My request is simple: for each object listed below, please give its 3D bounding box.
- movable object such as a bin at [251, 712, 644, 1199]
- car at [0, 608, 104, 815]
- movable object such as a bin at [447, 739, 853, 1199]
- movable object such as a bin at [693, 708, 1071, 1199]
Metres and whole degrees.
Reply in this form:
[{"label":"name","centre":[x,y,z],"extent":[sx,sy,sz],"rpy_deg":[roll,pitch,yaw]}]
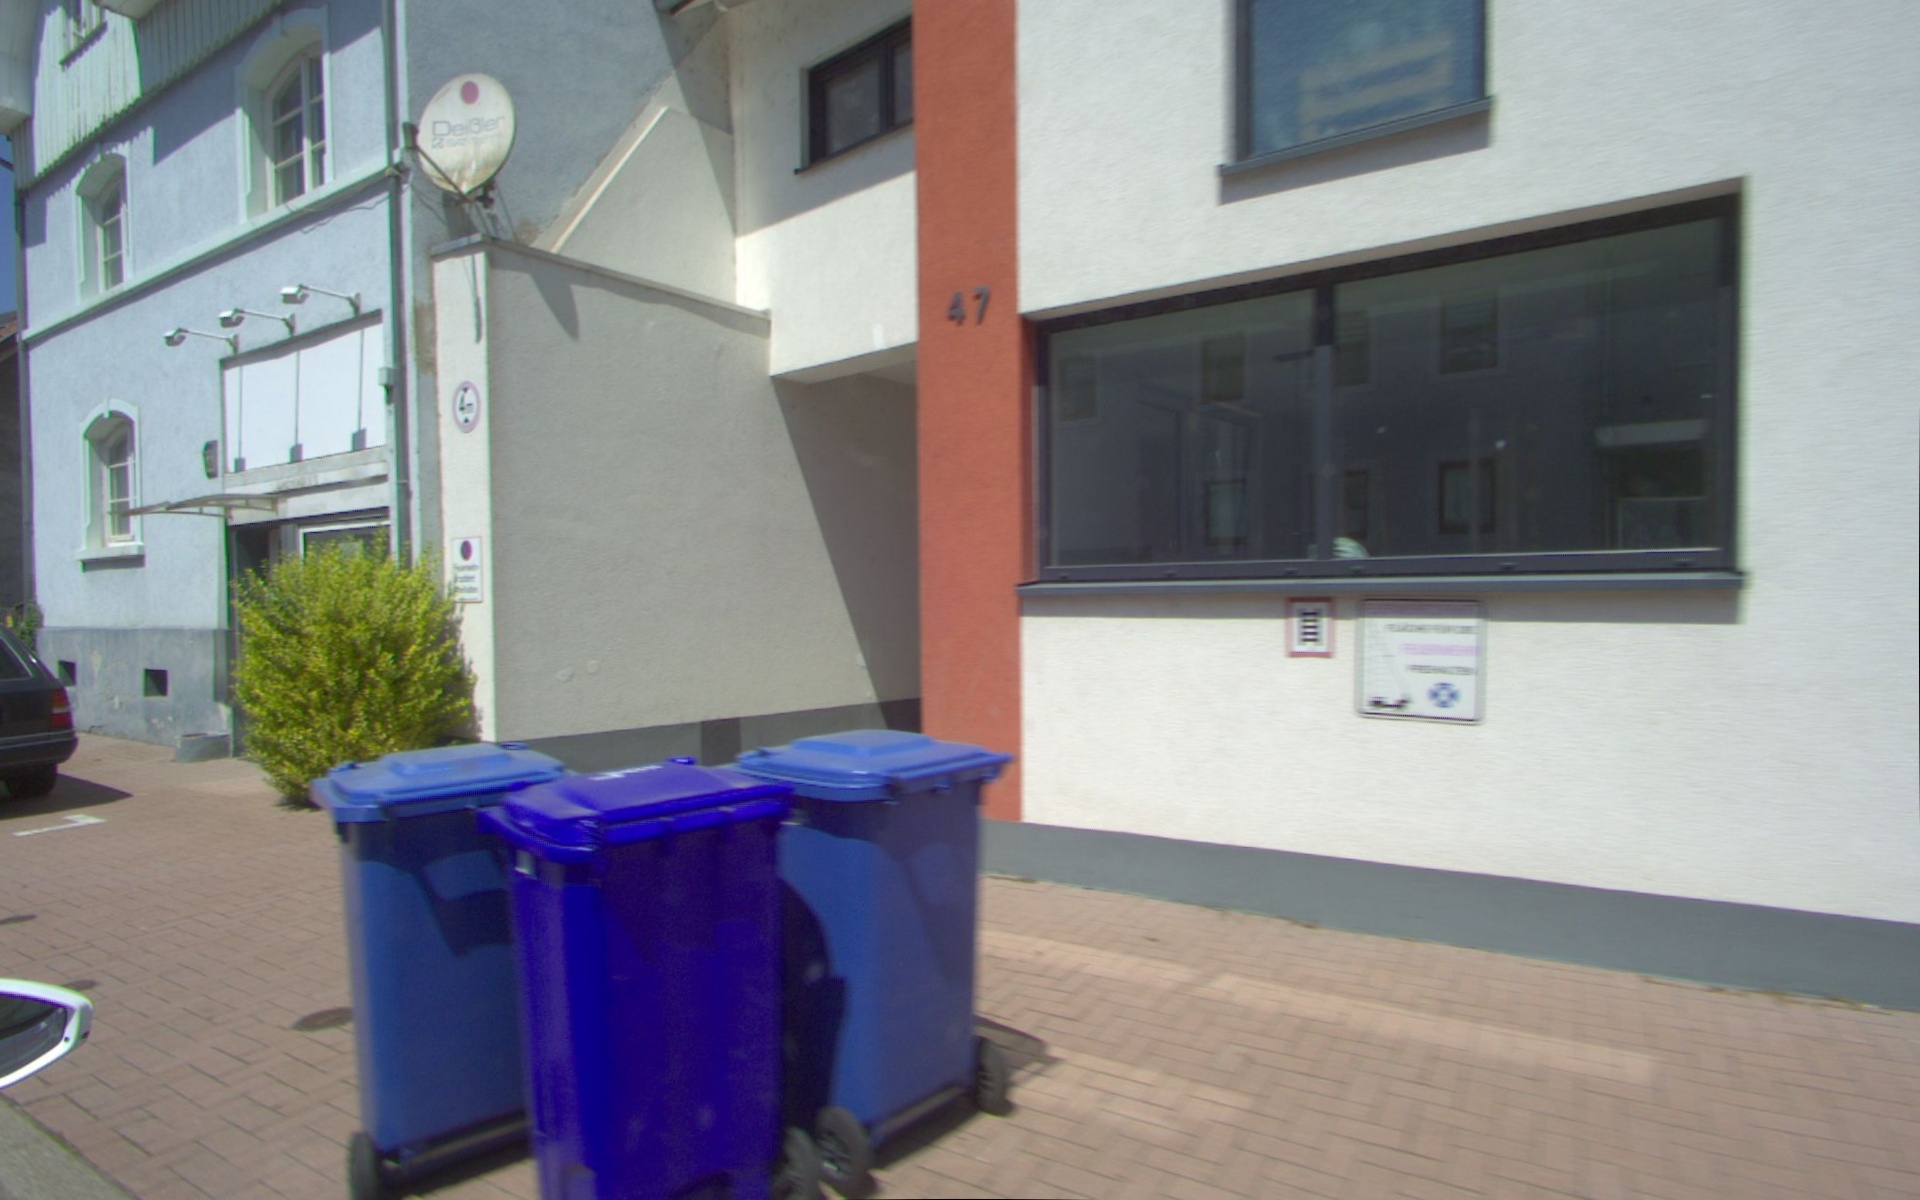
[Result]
[{"label":"movable object such as a bin","centre":[-1.440,0.932,2.776],"extent":[0.716,1.088,0.963],"rpy_deg":[-3,3,-42]},{"label":"car","centre":[-8.998,0.833,8.204],"extent":[4.512,1.485,1.766],"rpy_deg":[0,1,33]},{"label":"movable object such as a bin","centre":[-0.721,0.921,2.320],"extent":[0.650,1.049,0.678],"rpy_deg":[-3,3,-42]},{"label":"movable object such as a bin","centre":[-0.229,0.900,2.759],"extent":[0.649,1.074,0.828],"rpy_deg":[-3,3,-42]}]
